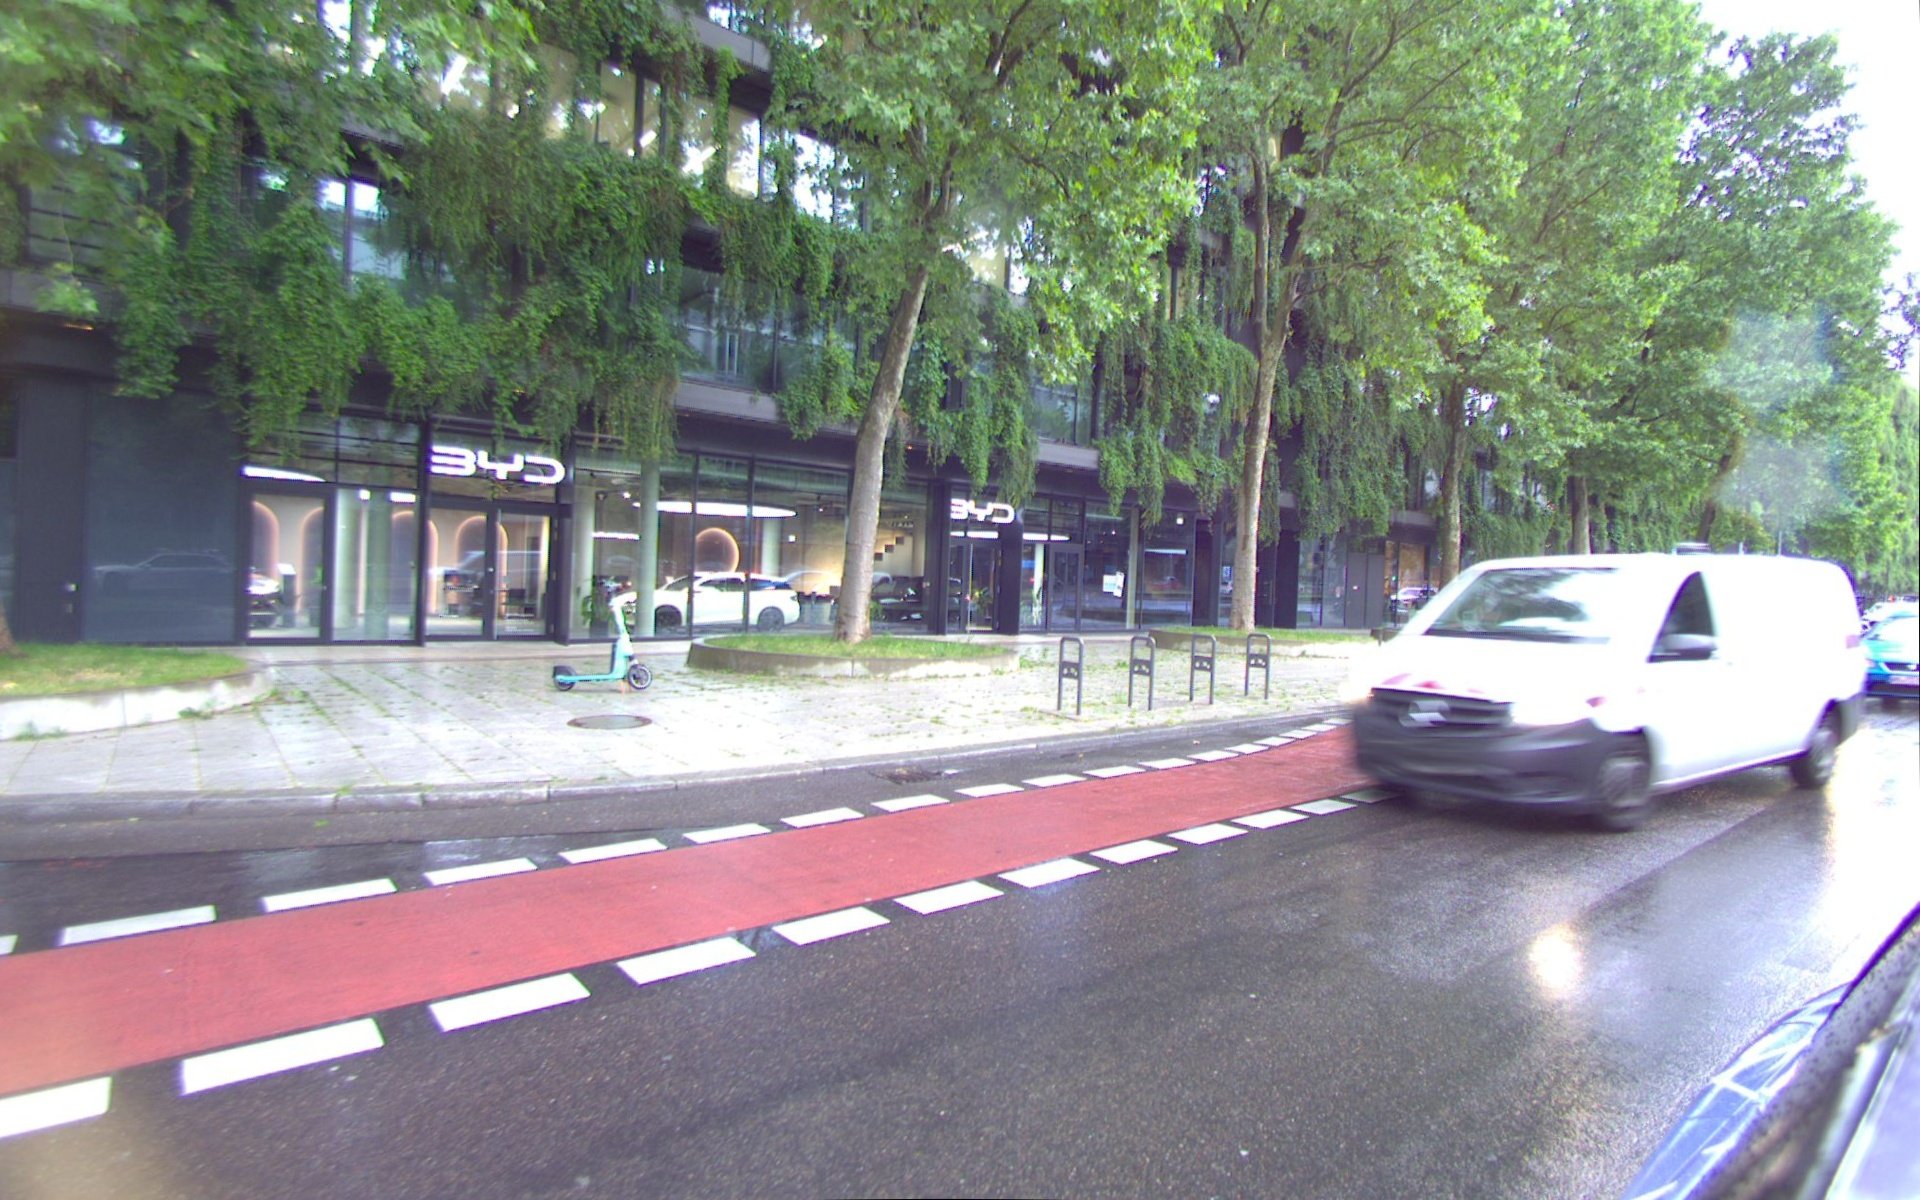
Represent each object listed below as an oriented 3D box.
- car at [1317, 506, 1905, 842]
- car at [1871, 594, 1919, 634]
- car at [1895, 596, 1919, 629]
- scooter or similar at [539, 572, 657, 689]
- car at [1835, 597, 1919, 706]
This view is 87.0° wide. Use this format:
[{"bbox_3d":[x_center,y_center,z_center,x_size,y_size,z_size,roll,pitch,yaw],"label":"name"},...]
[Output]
[{"bbox_3d":[5.270,0.417,8.006,4.865,1.970,1.928,0,1,-31],"label":"car"},{"bbox_3d":[44.712,0.626,47.849,4.519,1.758,1.931,-1,1,-41],"label":"car"},{"bbox_3d":[49.214,0.626,51.332,4.503,1.581,2.035,-1,1,-39],"label":"car"},{"bbox_3d":[-4.132,0.335,11.578,1.165,1.298,0.535,0,0,10],"label":"scooter or similar"},{"bbox_3d":[14.949,0.721,15.290,3.987,1.453,1.801,-1,2,-37],"label":"car"}]
